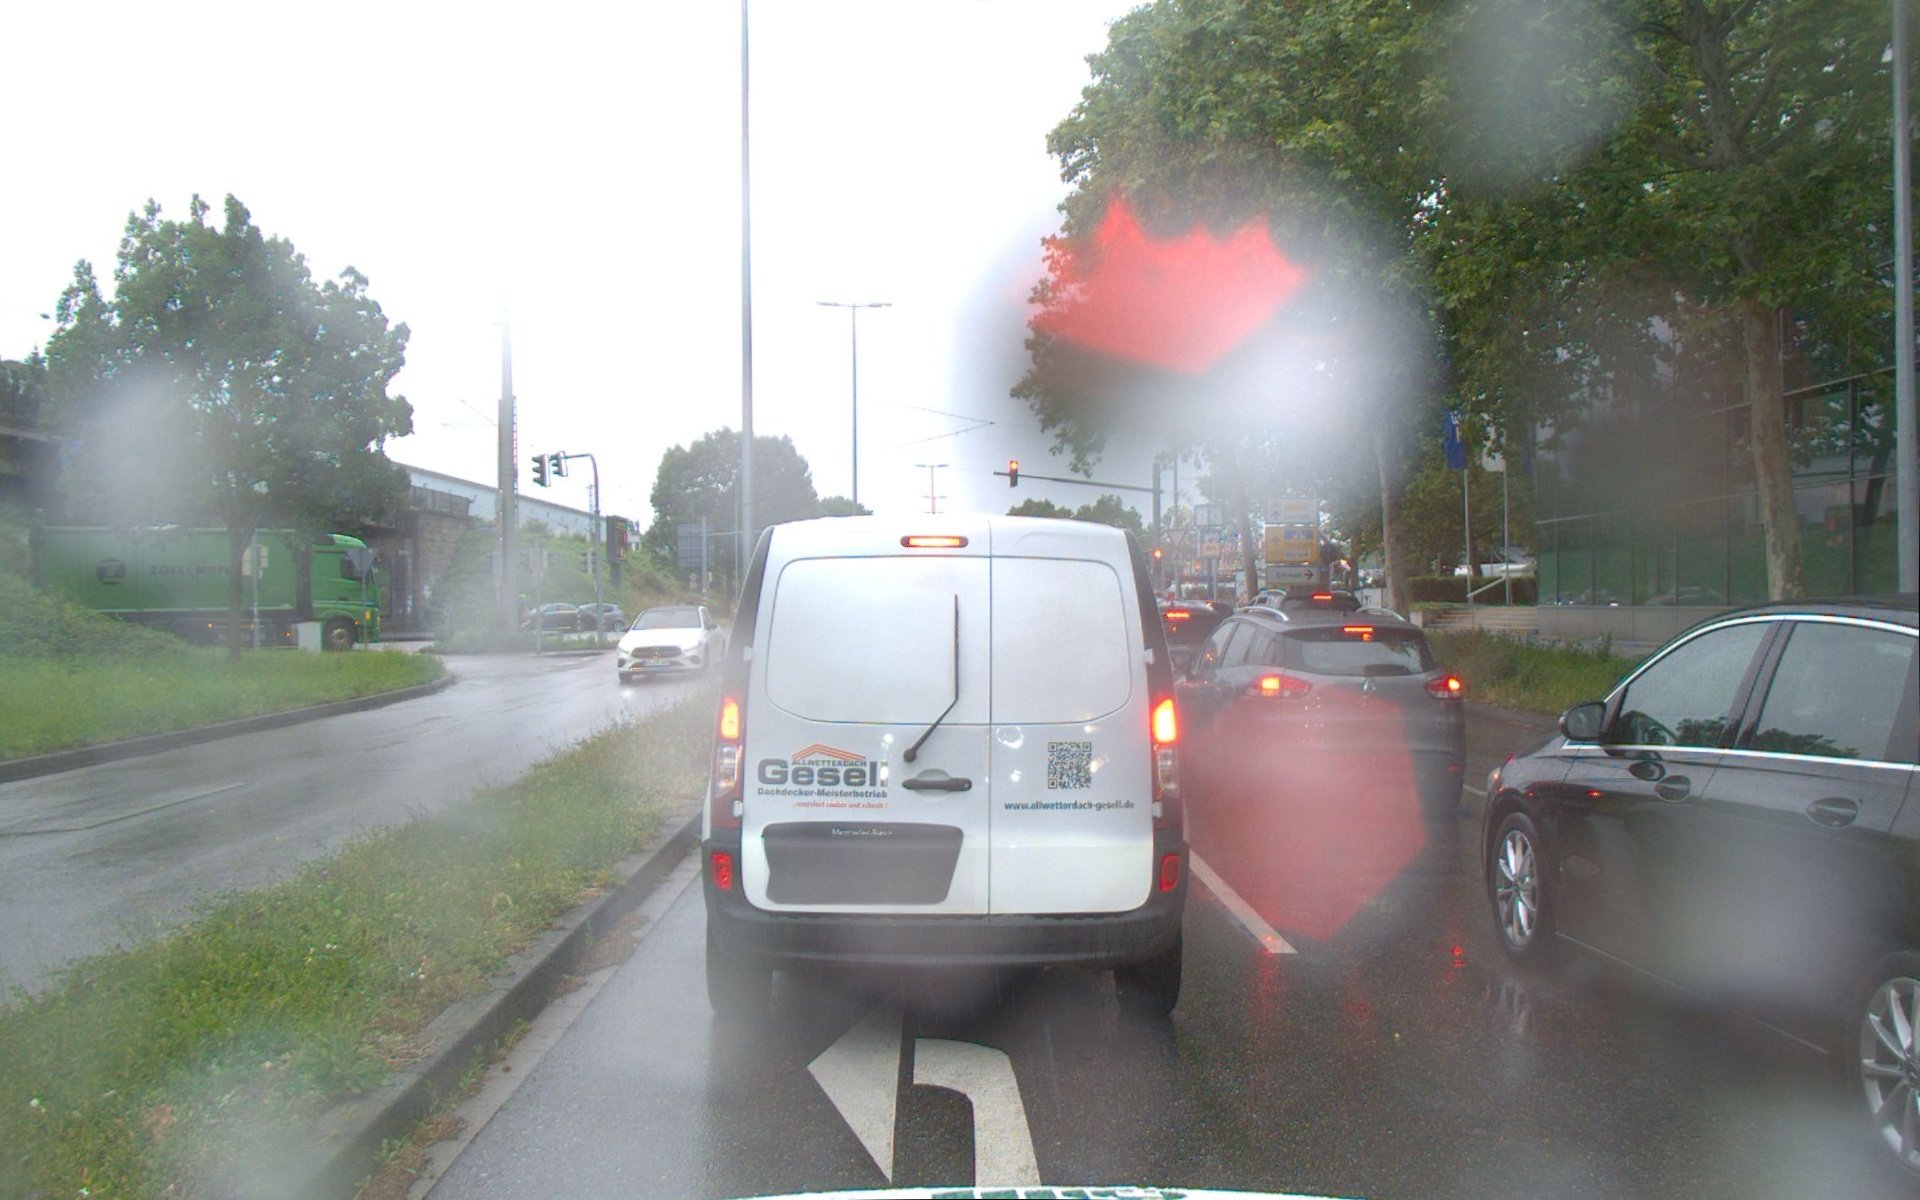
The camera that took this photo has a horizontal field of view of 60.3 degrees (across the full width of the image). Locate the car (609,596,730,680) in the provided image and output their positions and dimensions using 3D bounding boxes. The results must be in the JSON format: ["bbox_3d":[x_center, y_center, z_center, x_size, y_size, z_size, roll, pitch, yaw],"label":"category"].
[{"bbox_3d":[-5.931,0.742,34.205,1.789,1.596,3.999,-2,0,-1],"label":"car"}]

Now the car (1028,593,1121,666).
[{"bbox_3d":[2.419,0.593,35.805,1.677,1.470,3.999,0,0,-1],"label":"car"}]

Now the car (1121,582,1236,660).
[{"bbox_3d":[4.674,0.441,35.862,1.802,1.563,4.110,1,0,-2],"label":"car"}]

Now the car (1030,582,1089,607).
[{"bbox_3d":[7.258,-0.399,120.420,3.904,1.743,1.773,0,-2,21],"label":"car"}]

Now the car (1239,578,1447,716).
[{"bbox_3d":[5.272,0.614,23.334,1.819,1.756,4.188,0,0,-2],"label":"car"}]

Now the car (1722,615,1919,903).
[{"bbox_3d":[5.778,0.813,8.360,1.766,1.455,4.385,0,0,-1],"label":"car"}]

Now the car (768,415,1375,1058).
[{"bbox_3d":[0.286,0.450,7.324,1.953,2.049,3.998,0,0,-3],"label":"car"}]

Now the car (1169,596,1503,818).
[{"bbox_3d":[2.783,0.710,13.102,1.677,1.470,3.999,0,0,-1],"label":"car"}]

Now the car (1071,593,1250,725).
[{"bbox_3d":[2.394,0.650,20.593,1.677,1.470,3.999,0,0,-1],"label":"car"}]

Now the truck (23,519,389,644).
[{"bbox_3d":[-23.192,-0.423,51.403,10.037,3.512,2.622,2,-2,-38],"label":"truck"}]

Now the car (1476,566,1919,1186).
[{"bbox_3d":[3.228,0.687,5.429,1.674,1.577,3.998,0,1,-3],"label":"car"}]

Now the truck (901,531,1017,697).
[{"bbox_3d":[-0.087,0.225,27.026,1.721,2.509,3.998,0,0,-3],"label":"truck"}]
